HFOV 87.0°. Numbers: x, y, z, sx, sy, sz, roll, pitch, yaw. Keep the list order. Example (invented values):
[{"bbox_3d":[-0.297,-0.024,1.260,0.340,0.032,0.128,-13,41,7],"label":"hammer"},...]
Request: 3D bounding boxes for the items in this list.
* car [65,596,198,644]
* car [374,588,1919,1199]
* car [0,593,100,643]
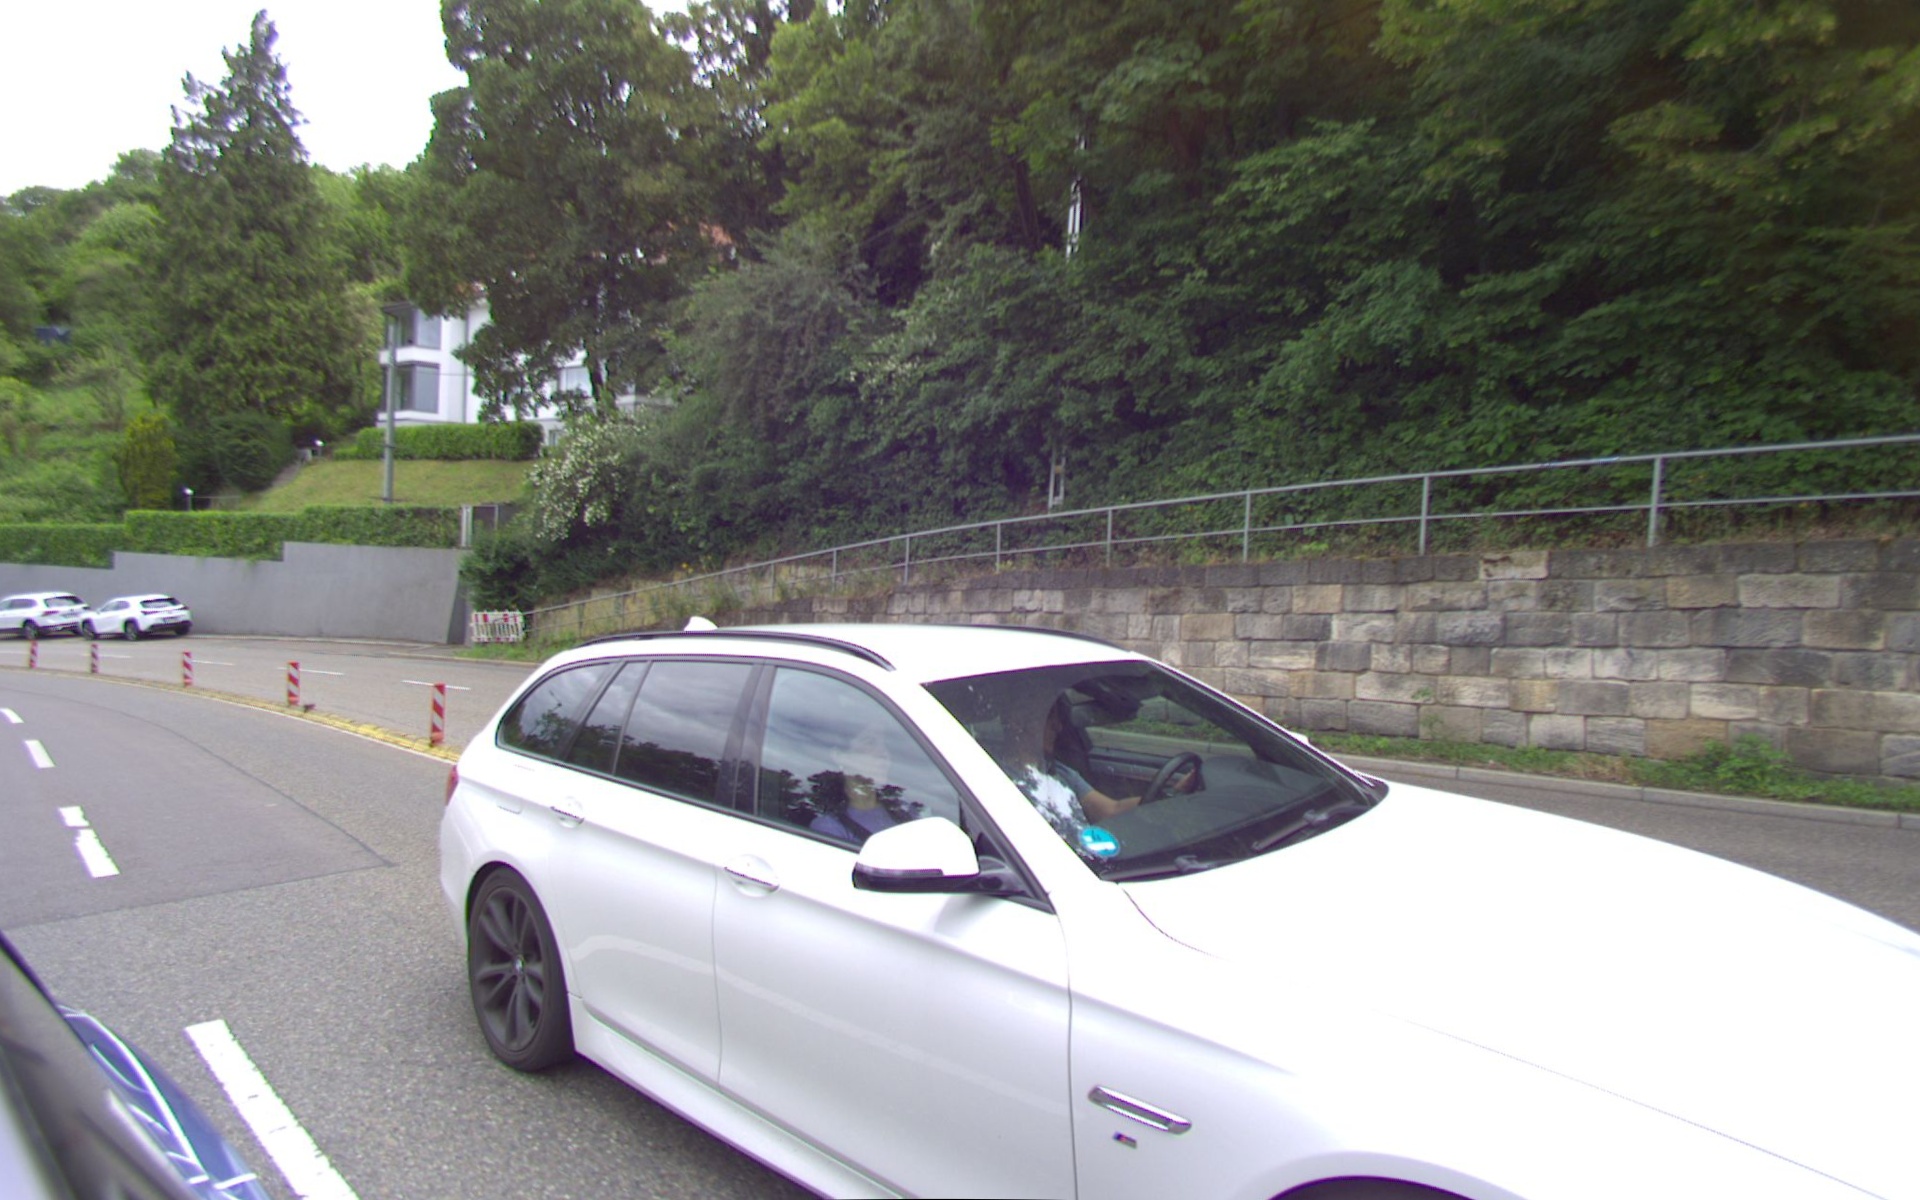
[{"bbox_3d":[-30.211,0.697,36.903,4.444,1.584,1.826,0,3,22],"label":"car"},{"bbox_3d":[0.245,0.764,2.904,4.876,1.477,1.829,1,3,41],"label":"car"},{"bbox_3d":[-35.644,0.672,38.658,4.716,1.744,1.857,0,3,15],"label":"car"}]
